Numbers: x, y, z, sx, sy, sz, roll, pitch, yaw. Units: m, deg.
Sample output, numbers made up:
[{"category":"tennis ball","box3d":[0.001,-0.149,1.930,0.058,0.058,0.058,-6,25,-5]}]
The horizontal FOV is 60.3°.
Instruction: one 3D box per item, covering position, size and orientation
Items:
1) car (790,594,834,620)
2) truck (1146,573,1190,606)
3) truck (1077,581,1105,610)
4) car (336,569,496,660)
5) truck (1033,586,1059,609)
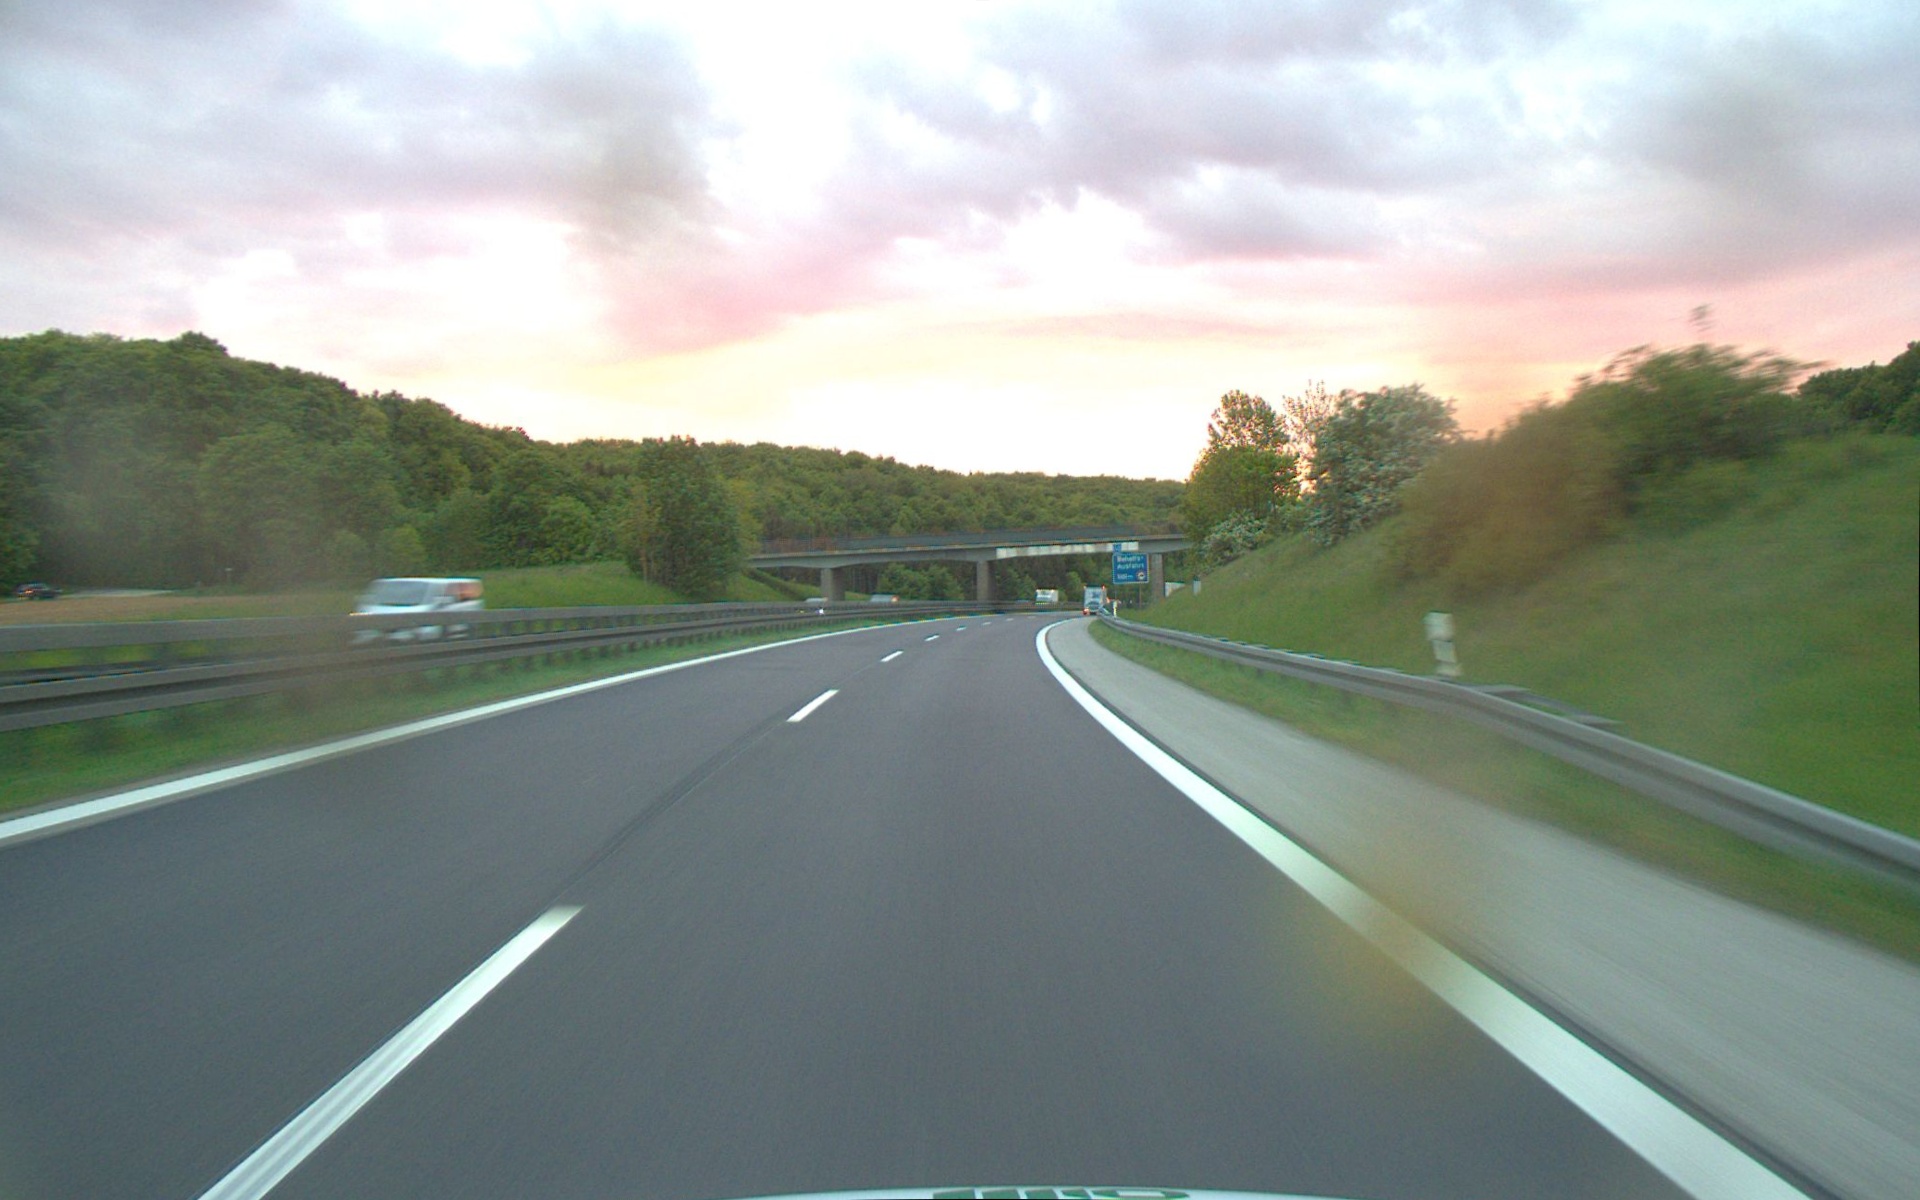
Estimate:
[{"category":"car","box3d":[-9.768,0.467,109.551,1.982,1.688,4.674,0,0,7]},{"category":"truck","box3d":[28.804,-1.439,228.531,3.874,4.362,14.332,0,0,16]},{"category":"truck","box3d":[12.862,-0.447,162.031,2.227,2.711,5.241,-1,1,9]},{"category":"car","box3d":[-14.326,0.336,43.915,2.235,2.048,5.259,-6,1,1]},{"category":"truck","box3d":[12.064,-0.346,231.102,2.556,3.164,6.674,1,0,12]}]
